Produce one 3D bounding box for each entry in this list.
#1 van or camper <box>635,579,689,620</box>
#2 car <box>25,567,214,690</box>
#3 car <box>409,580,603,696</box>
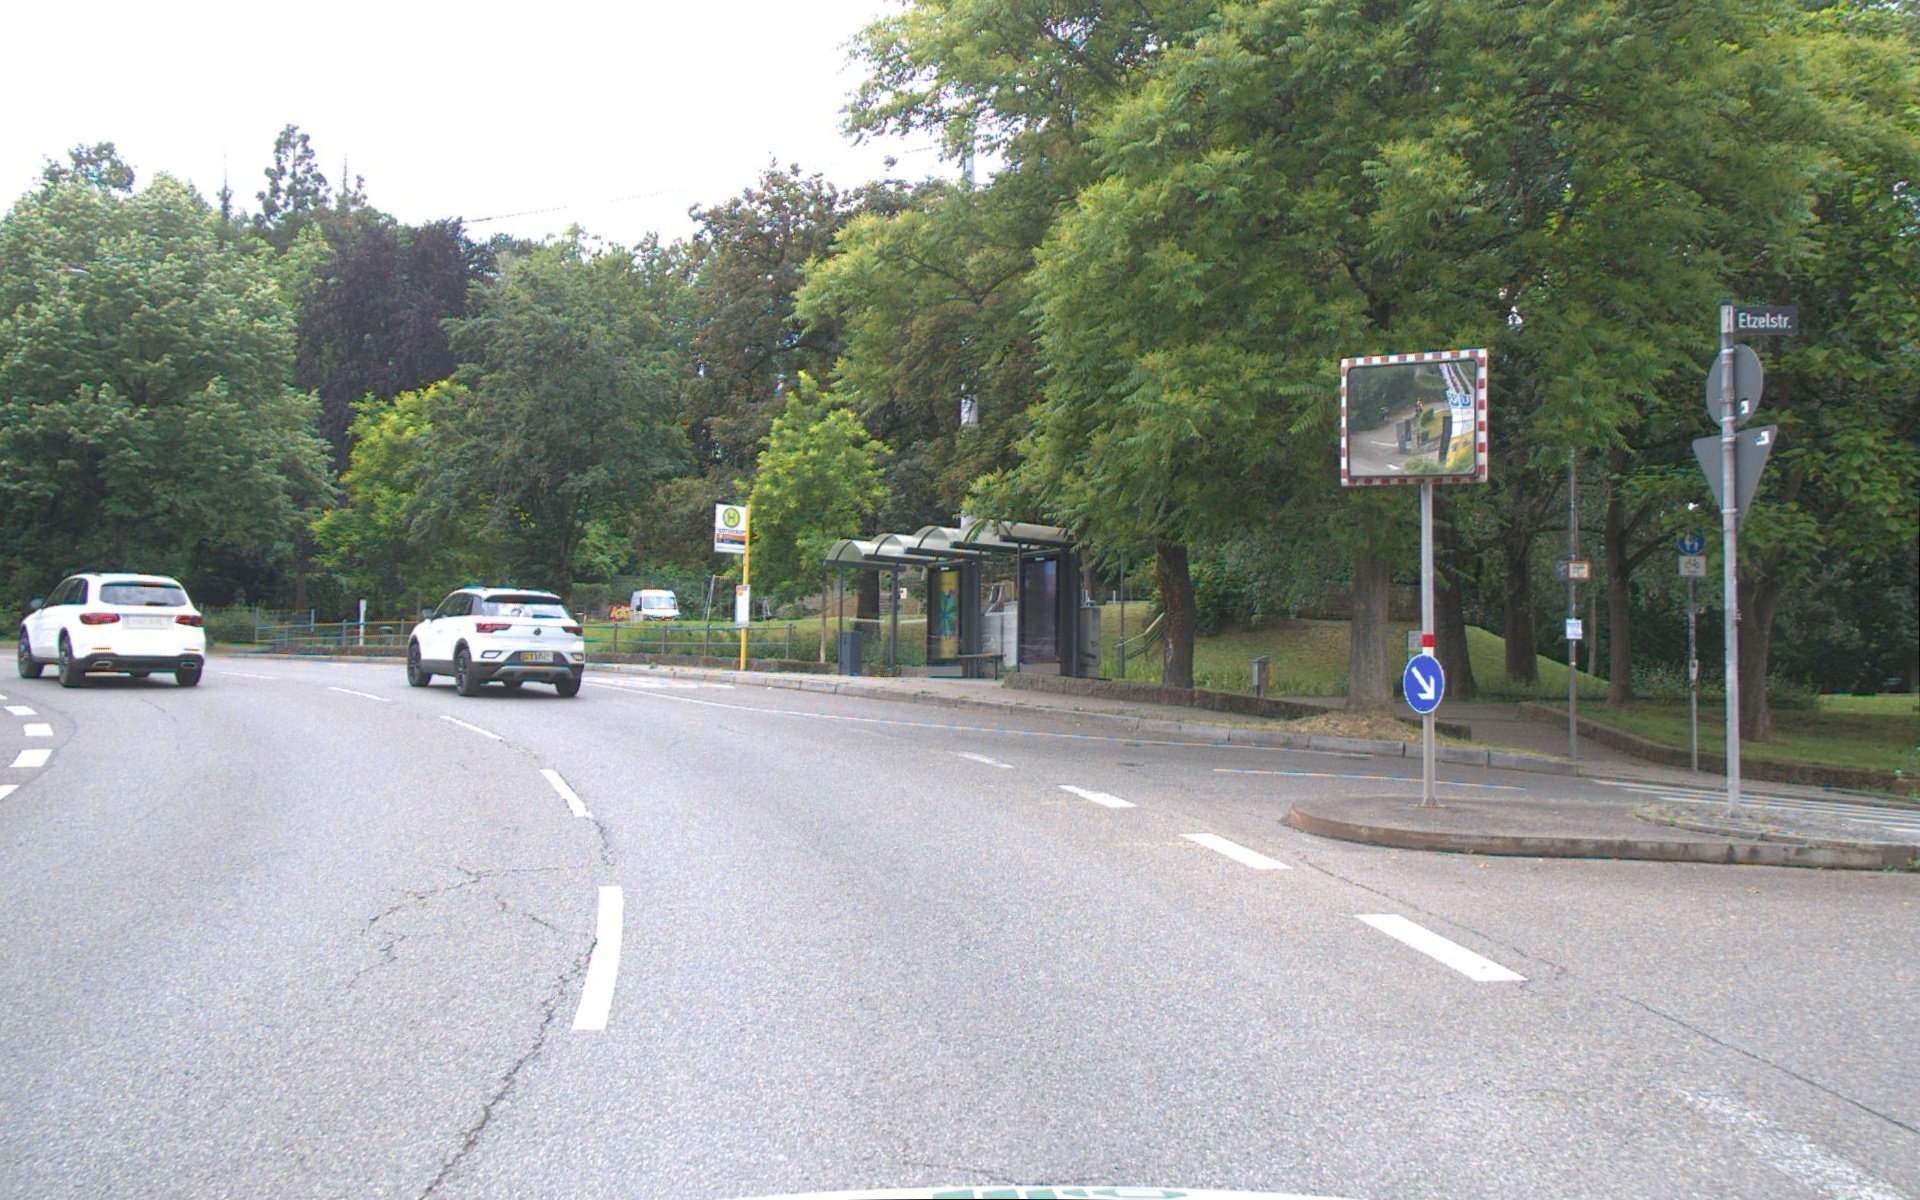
[{"bbox_3d":[-15.844,-0.022,87.699,2.266,2.049,5.418,2,-1,-16],"label":"van or camper"},{"bbox_3d":[-12.966,0.376,25.388,1.863,1.680,4.284,1,1,-37],"label":"car"},{"bbox_3d":[-7.024,0.537,25.344,1.846,1.583,3.853,2,0,-32],"label":"car"}]
